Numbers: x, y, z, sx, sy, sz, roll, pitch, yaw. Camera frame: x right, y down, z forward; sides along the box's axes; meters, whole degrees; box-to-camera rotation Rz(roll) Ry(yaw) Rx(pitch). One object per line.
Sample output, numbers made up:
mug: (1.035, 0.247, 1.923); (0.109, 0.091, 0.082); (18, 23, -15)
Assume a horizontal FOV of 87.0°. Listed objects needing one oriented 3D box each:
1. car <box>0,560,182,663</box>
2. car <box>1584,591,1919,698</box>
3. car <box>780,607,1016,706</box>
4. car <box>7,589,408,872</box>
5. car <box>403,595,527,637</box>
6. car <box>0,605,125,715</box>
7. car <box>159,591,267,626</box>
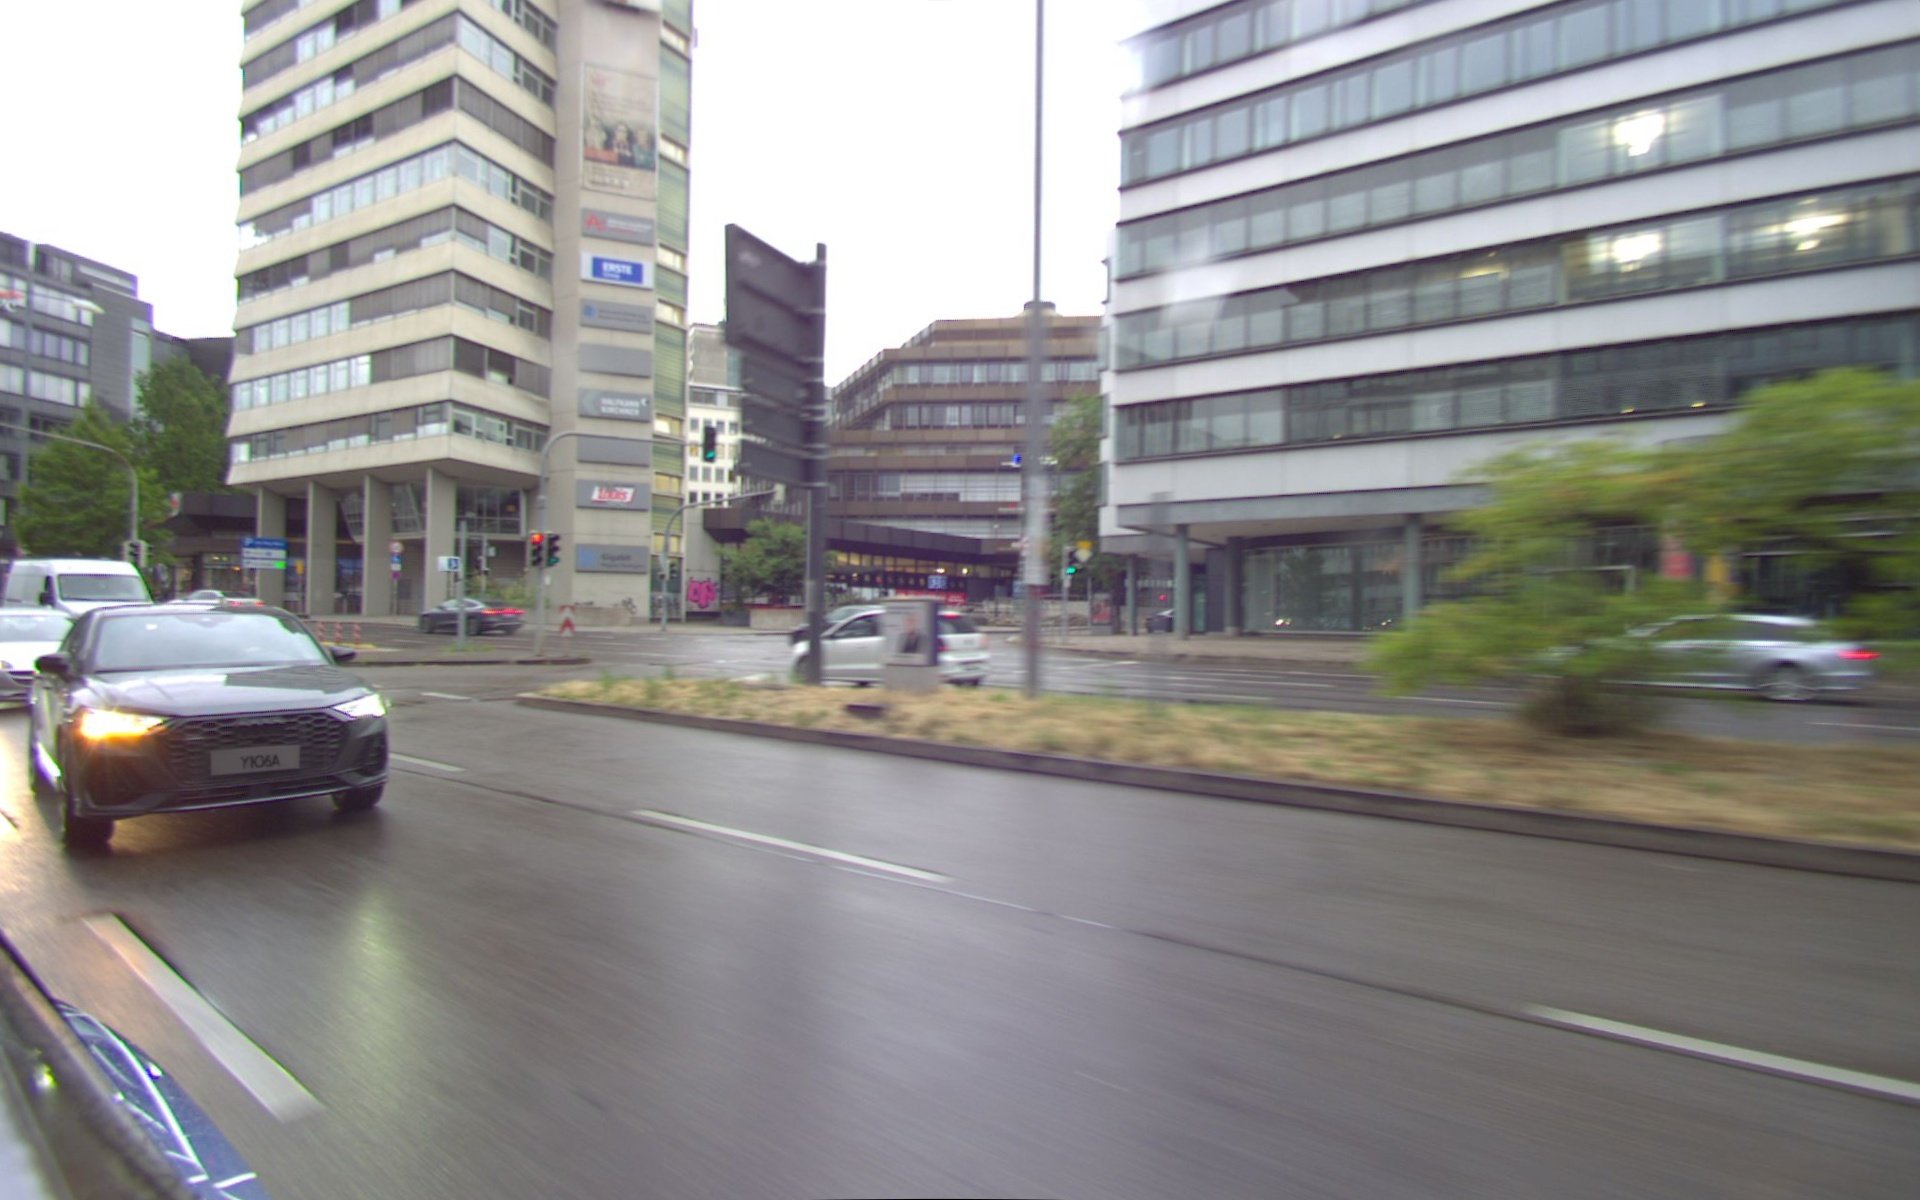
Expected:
car: (-22.566, 0.225, 26.075); (5.702, 2.403, 2.236); (1, 0, 33)
car: (13.661, 0.711, 17.658); (4.478, 1.630, 1.973); (-1, -1, 40)
car: (-1.144, 0.895, 17.704); (3.965, 1.475, 1.735); (1, 0, 37)
car: (-5.992, 0.715, 7.831); (4.389, 1.563, 1.777); (1, 0, 44)
car: (-20.190, 0.609, 41.235); (5.148, 1.597, 1.980); (1, 0, 29)
car: (-14.890, 0.863, 16.017); (4.122, 1.490, 1.753); (1, 0, 38)
car: (-35.728, 0.385, 48.383); (5.220, 1.529, 1.775); (1, 0, 24)
